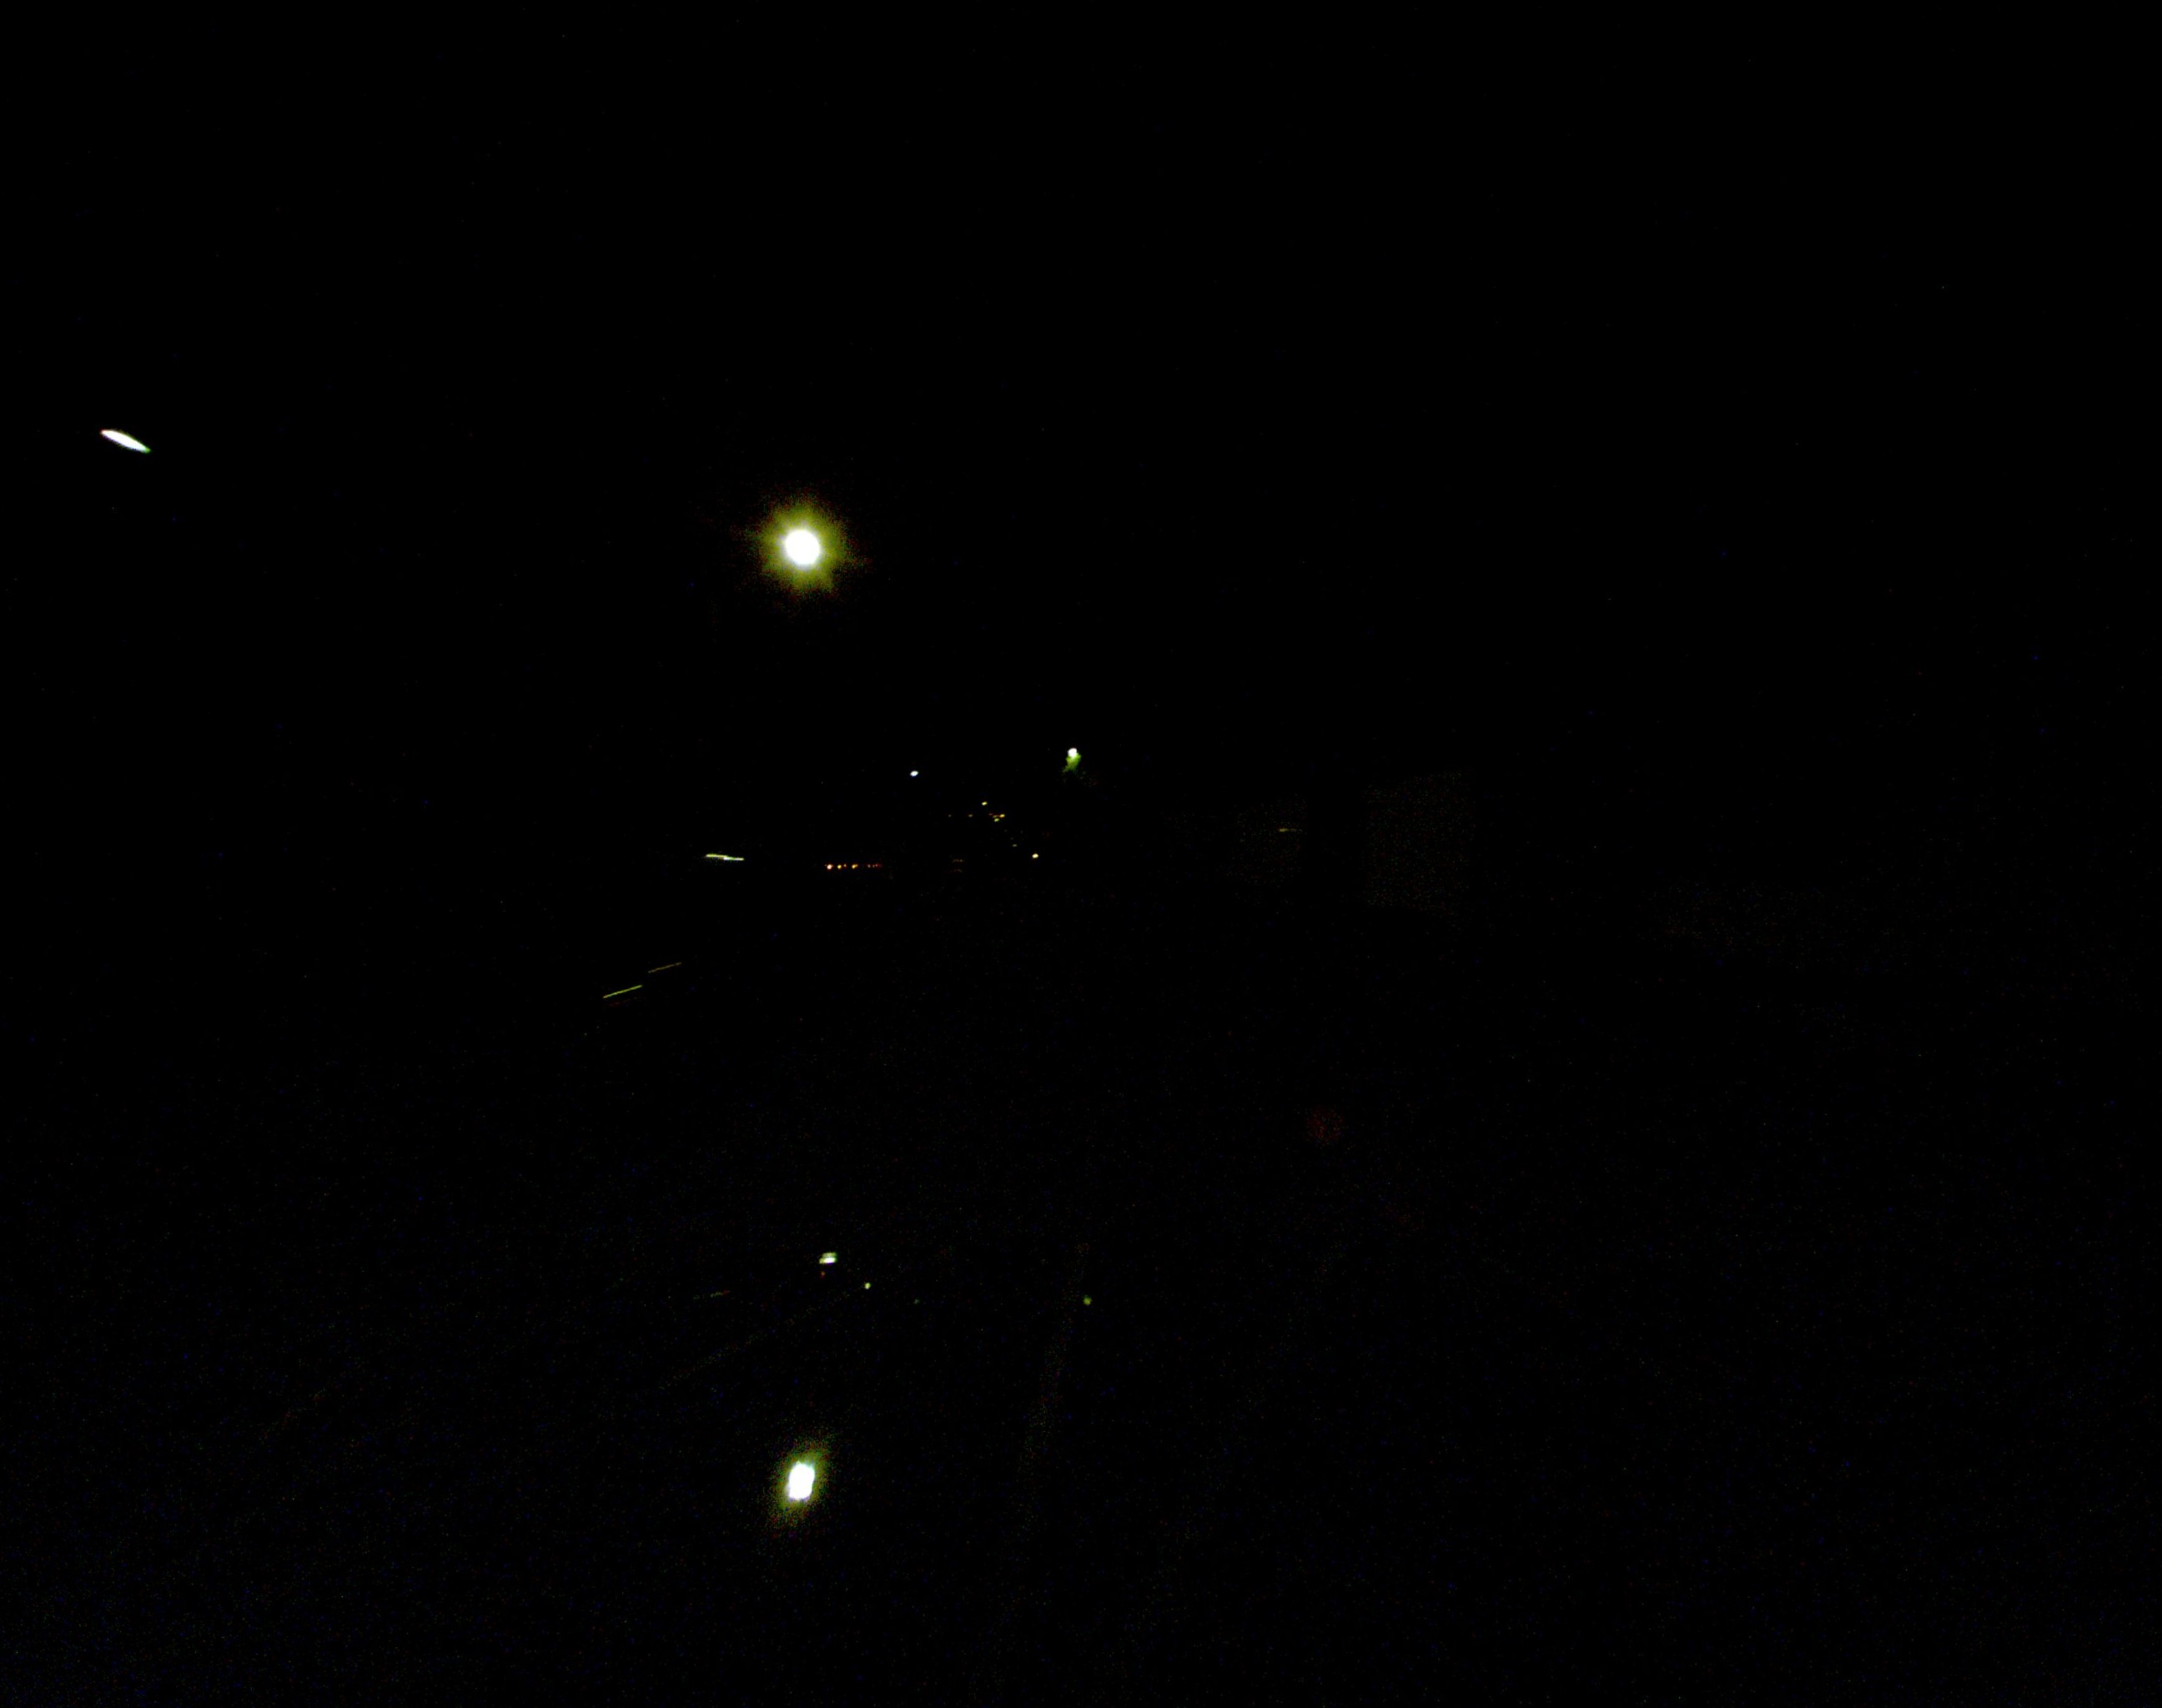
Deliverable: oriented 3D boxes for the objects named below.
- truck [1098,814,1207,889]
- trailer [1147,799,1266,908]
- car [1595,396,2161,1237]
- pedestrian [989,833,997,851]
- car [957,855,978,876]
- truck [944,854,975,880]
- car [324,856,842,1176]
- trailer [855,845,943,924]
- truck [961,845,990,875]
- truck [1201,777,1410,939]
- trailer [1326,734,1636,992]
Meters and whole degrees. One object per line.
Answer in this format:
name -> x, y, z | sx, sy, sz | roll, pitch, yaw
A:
truck -> 3.147, -0.137, 36.671 | 2.752, 3.047, 9.328 | -2, 1, -10
trailer -> 3.981, -0.036, 25.930 | 2.489, 3.055, 7.952 | -2, 0, -1
car -> 5.382, -0.165, 2.251 | 2.389, 3.224, 7.228 | -2, 1, -4
pedestrian -> -23.081, -3.198, 200.341 | 1.744, 4.679, 2.302 | -2, 1, -2
car -> -13.417, 1.373, 89.992 | 1.864, 2.373, 3.999 | -2, 0, -3
truck -> -12.893, 1.330, 81.215 | 2.406, 2.555, 6.404 | -2, 0, -2
car -> -3.650, 0.977, 6.718 | 1.734, 1.769, 4.315 | -3, 1, -2
trailer -> -5.416, 0.813, 22.112 | 1.497, 2.002, 4.975 | -2, 0, -24
truck -> -13.645, 0.733, 98.938 | 3.057, 3.602, 9.596 | -2, 0, -5
truck -> 4.530, 0.061, 16.979 | 1.999, 2.768, 7.241 | -2, 0, -4
trailer -> 4.944, 0.090, 10.157 | 2.002, 2.749, 3.999 | -1, 0, -1
